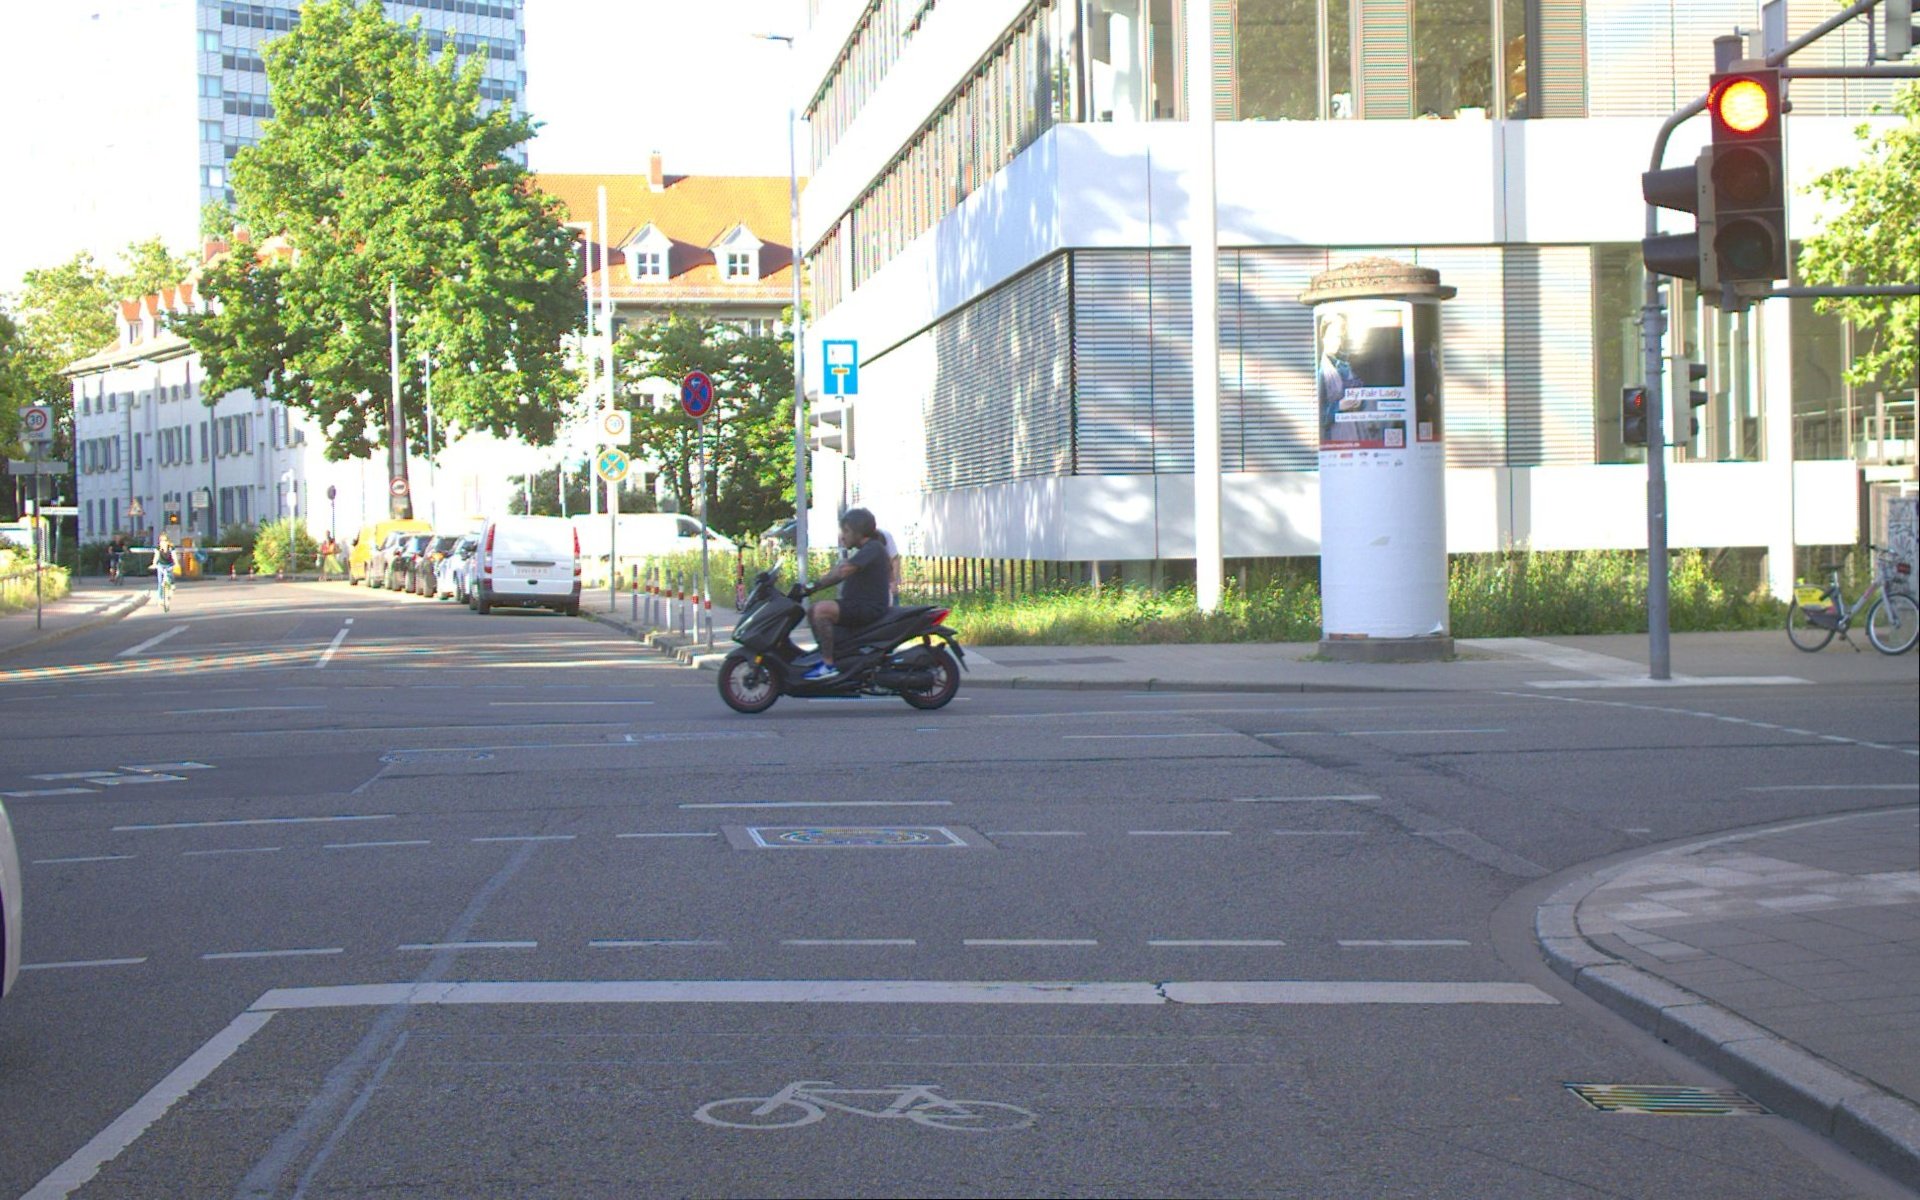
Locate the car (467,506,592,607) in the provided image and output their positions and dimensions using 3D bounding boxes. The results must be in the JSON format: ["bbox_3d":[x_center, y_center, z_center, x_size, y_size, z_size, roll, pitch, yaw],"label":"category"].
[{"bbox_3d":[-8.137,-0.852,64.684,2.084,1.789,4.417,-1,2,-10],"label":"car"}]

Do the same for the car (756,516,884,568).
[{"bbox_3d":[-4.254,-1.757,104.249,3.554,1.541,1.559,-1,1,-19],"label":"car"}]

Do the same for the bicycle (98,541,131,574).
[{"bbox_3d":[-27.592,-1.394,112.174,0.865,1.006,2.415,-4,1,-11],"label":"bicycle"}]

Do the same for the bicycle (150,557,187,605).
[{"bbox_3d":[-16.878,-0.412,73.332,0.615,0.966,1.842,-2,1,-9],"label":"bicycle"}]

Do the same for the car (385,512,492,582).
[{"bbox_3d":[-13.005,-1.346,85.571,1.888,1.650,4.417,-1,2,-19],"label":"car"}]

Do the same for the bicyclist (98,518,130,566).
[{"bbox_3d":[-27.616,-1.902,112.180,0.865,1.510,1.019,-4,1,-11],"label":"bicyclist"}]

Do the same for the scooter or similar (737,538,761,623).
[{"bbox_3d":[-3.590,-0.339,58.582,0.330,1.419,1.335,1,0,-6],"label":"scooter or similar"}]

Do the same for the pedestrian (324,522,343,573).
[{"bbox_3d":[-19.666,-1.655,107.942,0.433,1.602,0.493,-2,1,-26],"label":"pedestrian"}]

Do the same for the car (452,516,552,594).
[{"bbox_3d":[-9.747,-0.981,72.954,1.888,1.550,4.417,-1,2,-10],"label":"car"}]

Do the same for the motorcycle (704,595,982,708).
[{"bbox_3d":[-0.974,0.430,28.962,2.297,0.885,0.821,-1,1,-1],"label":"motorcycle"}]

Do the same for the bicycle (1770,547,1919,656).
[{"bbox_3d":[9.312,0.002,36.049,0.507,1.045,1.687,-4,5,-35],"label":"bicycle"}]

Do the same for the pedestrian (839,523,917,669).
[{"bbox_3d":[-0.887,-0.049,37.215,0.559,1.535,0.677,-5,2,-18],"label":"pedestrian"}]

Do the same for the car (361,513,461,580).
[{"bbox_3d":[-14.516,-1.432,90.788,1.888,1.650,4.417,-1,2,-19],"label":"car"}]

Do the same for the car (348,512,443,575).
[{"bbox_3d":[-15.701,-1.589,95.506,1.888,1.650,4.417,-1,2,-19],"label":"car"}]

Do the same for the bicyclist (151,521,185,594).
[{"bbox_3d":[-16.890,-0.917,73.335,0.615,1.527,0.903,-2,1,-9],"label":"bicyclist"}]

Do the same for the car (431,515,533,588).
[{"bbox_3d":[-10.921,-1.128,78.324,1.888,1.550,4.417,-1,2,-13],"label":"car"}]

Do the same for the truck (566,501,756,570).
[{"bbox_3d":[-8.969,-1.937,103.061,5.336,2.007,2.001,-1,1,-19],"label":"truck"}]

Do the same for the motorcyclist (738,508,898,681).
[{"bbox_3d":[-1.188,-0.054,28.955,1.294,1.414,0.821,-1,1,-1],"label":"motorcyclist"}]

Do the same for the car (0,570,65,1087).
[{"bbox_3d":[-3.796,0.739,8.200,1.887,1.471,4.545,-3,1,3],"label":"car"}]

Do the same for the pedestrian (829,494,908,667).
[{"bbox_3d":[-1.003,-0.220,37.818,0.560,1.844,0.677,-3,2,16],"label":"pedestrian"}]
